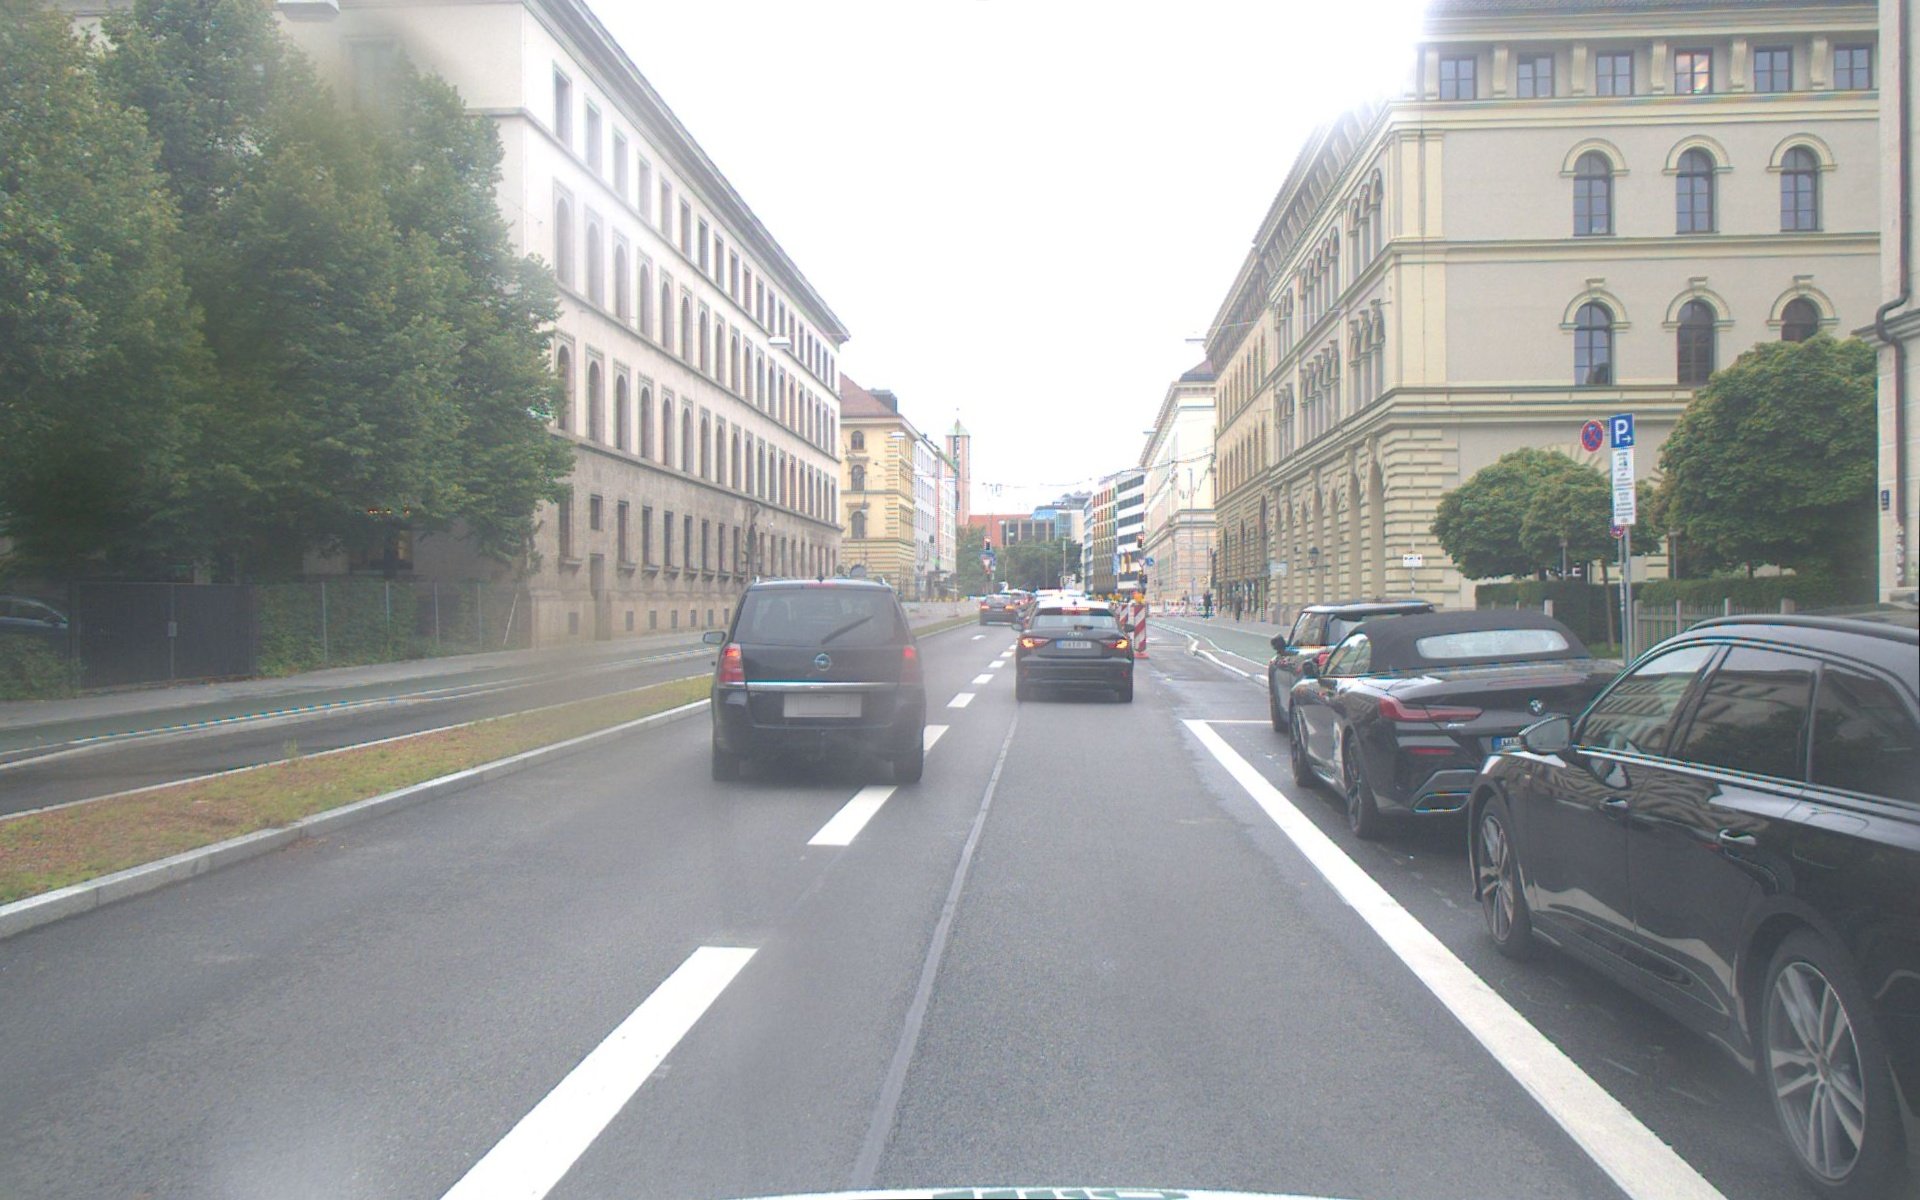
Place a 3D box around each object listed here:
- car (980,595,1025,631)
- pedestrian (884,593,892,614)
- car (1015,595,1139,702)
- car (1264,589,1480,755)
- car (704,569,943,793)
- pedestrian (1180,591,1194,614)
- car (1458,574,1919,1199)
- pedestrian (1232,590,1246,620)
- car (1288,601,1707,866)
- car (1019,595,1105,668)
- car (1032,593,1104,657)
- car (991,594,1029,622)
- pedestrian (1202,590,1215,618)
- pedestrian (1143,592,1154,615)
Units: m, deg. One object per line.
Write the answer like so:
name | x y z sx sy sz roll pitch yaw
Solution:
car | 2.076 0.587 79.056 1.951 1.656 4.002 0 0 4
pedestrian | -6.368 0.308 146.778 0.642 1.836 0.727 0 0 3
car | 1.741 0.665 24.829 1.694 1.427 4.002 1 0 4
car | 4.273 0.672 17.674 1.640 1.547 3.832 1 0 5
car | -1.316 0.589 14.320 1.732 1.644 4.021 1 0 -9
pedestrian | 16.216 0.173 118.327 0.701 1.646 0.748 0 0 -26
car | 3.092 0.722 5.192 1.771 1.506 4.463 -4 0 2
pedestrian | 15.522 0.260 92.065 0.695 1.646 0.754 0 0 3
car | 3.501 0.752 11.715 1.787 1.432 4.722 1 0 5
car | 2.174 0.623 35.190 1.694 1.427 4.002 1 0 4
car | 2.714 0.582 41.491 1.694 1.486 4.002 1 0 4
car | 2.785 0.414 91.312 1.951 1.469 4.002 0 0 4
pedestrian | 14.991 0.240 99.726 0.695 1.646 0.754 0 0 3
pedestrian | 13.796 0.240 120.824 0.736 1.646 0.713 0 0 12
